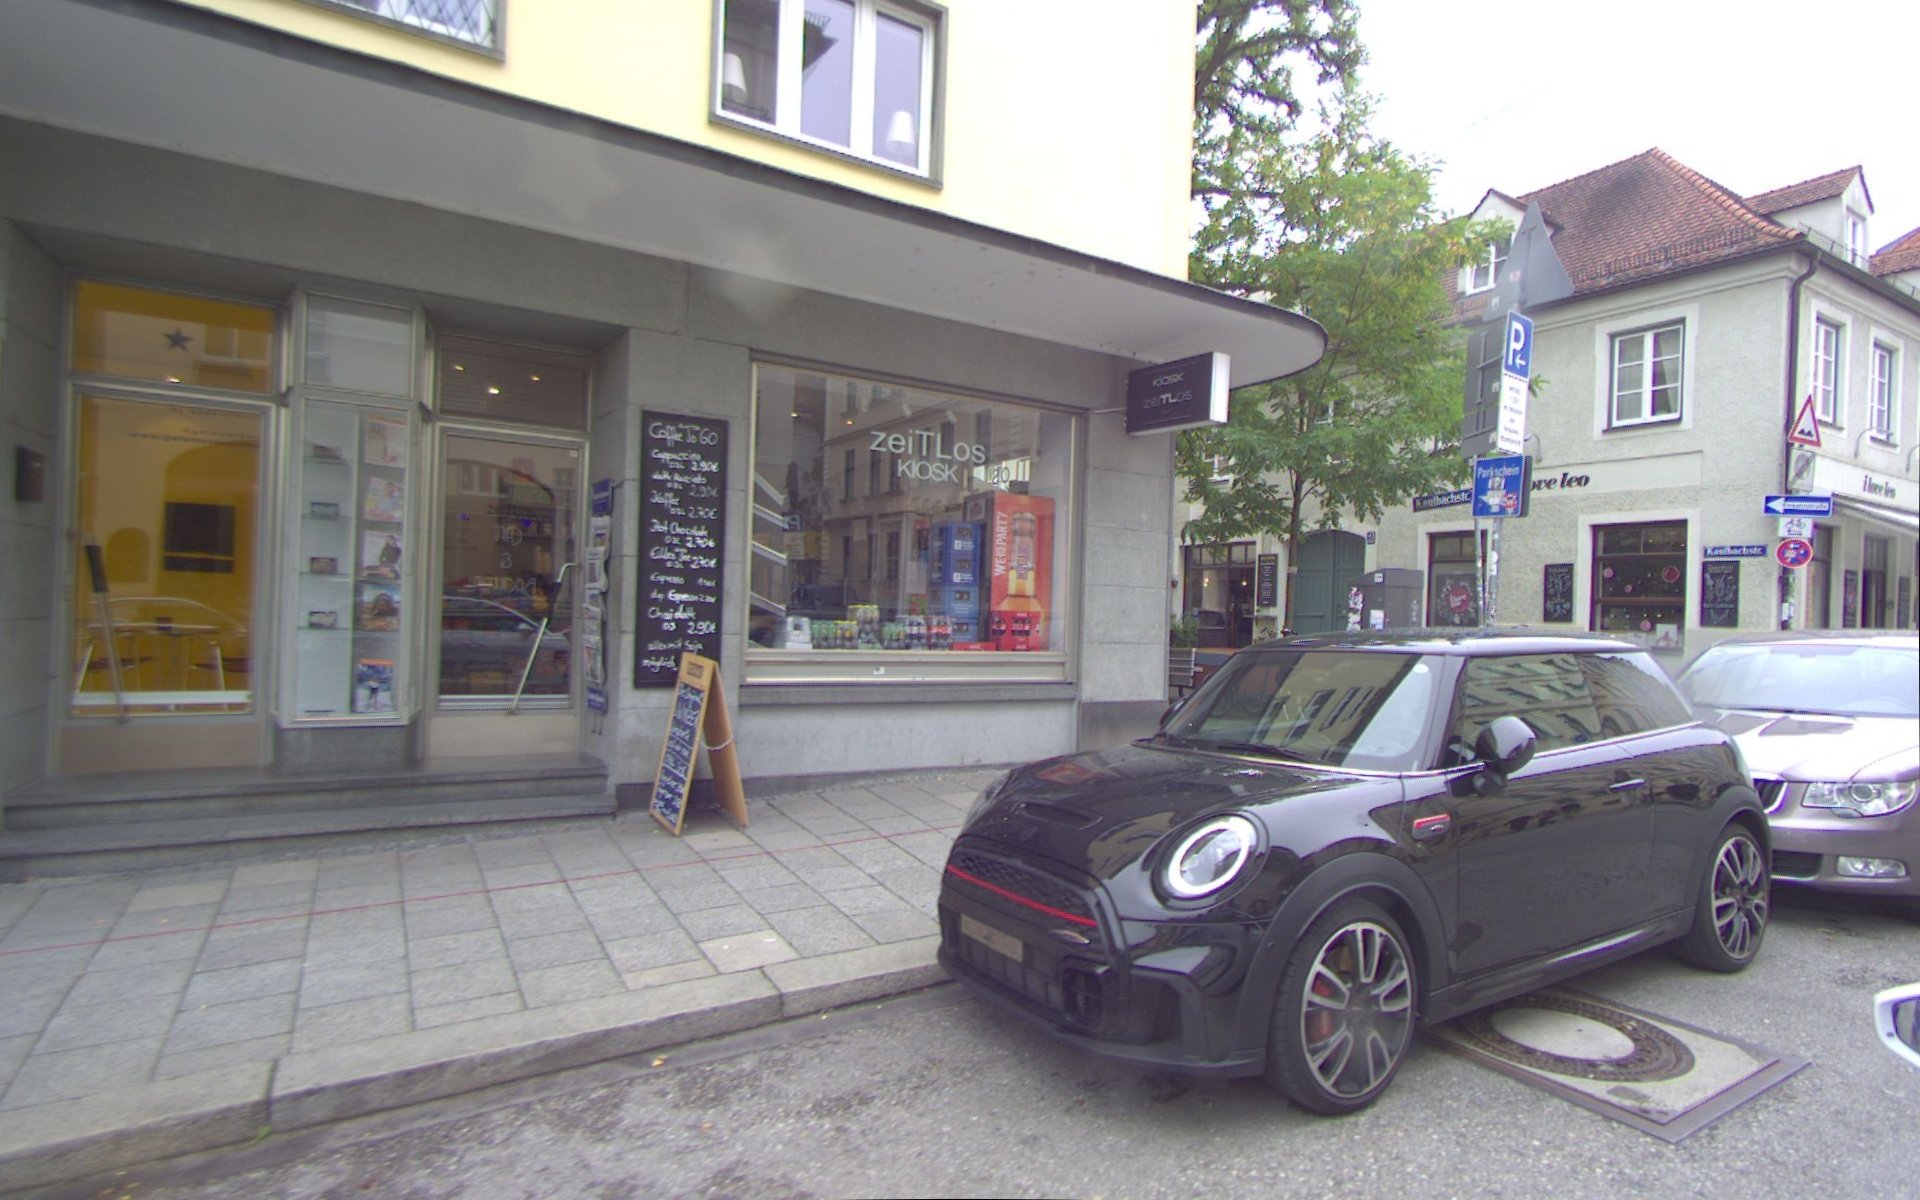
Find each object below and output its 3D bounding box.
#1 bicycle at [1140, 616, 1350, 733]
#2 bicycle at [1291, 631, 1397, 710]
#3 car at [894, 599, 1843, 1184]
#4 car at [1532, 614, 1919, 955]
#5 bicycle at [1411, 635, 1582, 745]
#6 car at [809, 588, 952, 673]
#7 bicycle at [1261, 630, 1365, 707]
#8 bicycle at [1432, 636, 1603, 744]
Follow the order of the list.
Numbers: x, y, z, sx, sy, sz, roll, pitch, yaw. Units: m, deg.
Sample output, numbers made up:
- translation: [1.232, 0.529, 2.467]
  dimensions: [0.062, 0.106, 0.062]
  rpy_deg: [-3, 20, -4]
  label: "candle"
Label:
- translation: [3.502, 0.875, 12.737]
  dimensions: [0.807, 1.227, 2.831]
  rpy_deg: [3, 0, -27]
  label: "bicycle"
- translation: [5.117, 0.935, 13.340]
  dimensions: [1.699, 0.978, 0.377]
  rpy_deg: [3, 0, -35]
  label: "bicycle"
- translation: [1.894, 0.801, 4.328]
  dimensions: [4.049, 1.491, 1.671]
  rpy_deg: [1, -2, -30]
  label: "car"
- translation: [5.796, 0.877, 6.467]
  dimensions: [4.898, 1.491, 1.669]
  rpy_deg: [1, -2, -34]
  label: "car"
- translation: [6.093, 0.987, 11.524]
  dimensions: [0.387, 1.049, 1.811]
  rpy_deg: [0, 2, -27]
  label: "bicycle"
- translation: [-2.069, 0.690, 24.835]
  dimensions: [1.883, 1.870, 4.429]
  rpy_deg: [-2, 1, -28]
  label: "car"
- translation: [4.849, 0.935, 13.752]
  dimensions: [1.699, 0.978, 0.377]
  rpy_deg: [3, 0, -35]
  label: "bicycle"
- translation: [6.443, 1.005, 11.715]
  dimensions: [0.387, 1.049, 1.811]
  rpy_deg: [0, 2, -27]
  label: "bicycle"
